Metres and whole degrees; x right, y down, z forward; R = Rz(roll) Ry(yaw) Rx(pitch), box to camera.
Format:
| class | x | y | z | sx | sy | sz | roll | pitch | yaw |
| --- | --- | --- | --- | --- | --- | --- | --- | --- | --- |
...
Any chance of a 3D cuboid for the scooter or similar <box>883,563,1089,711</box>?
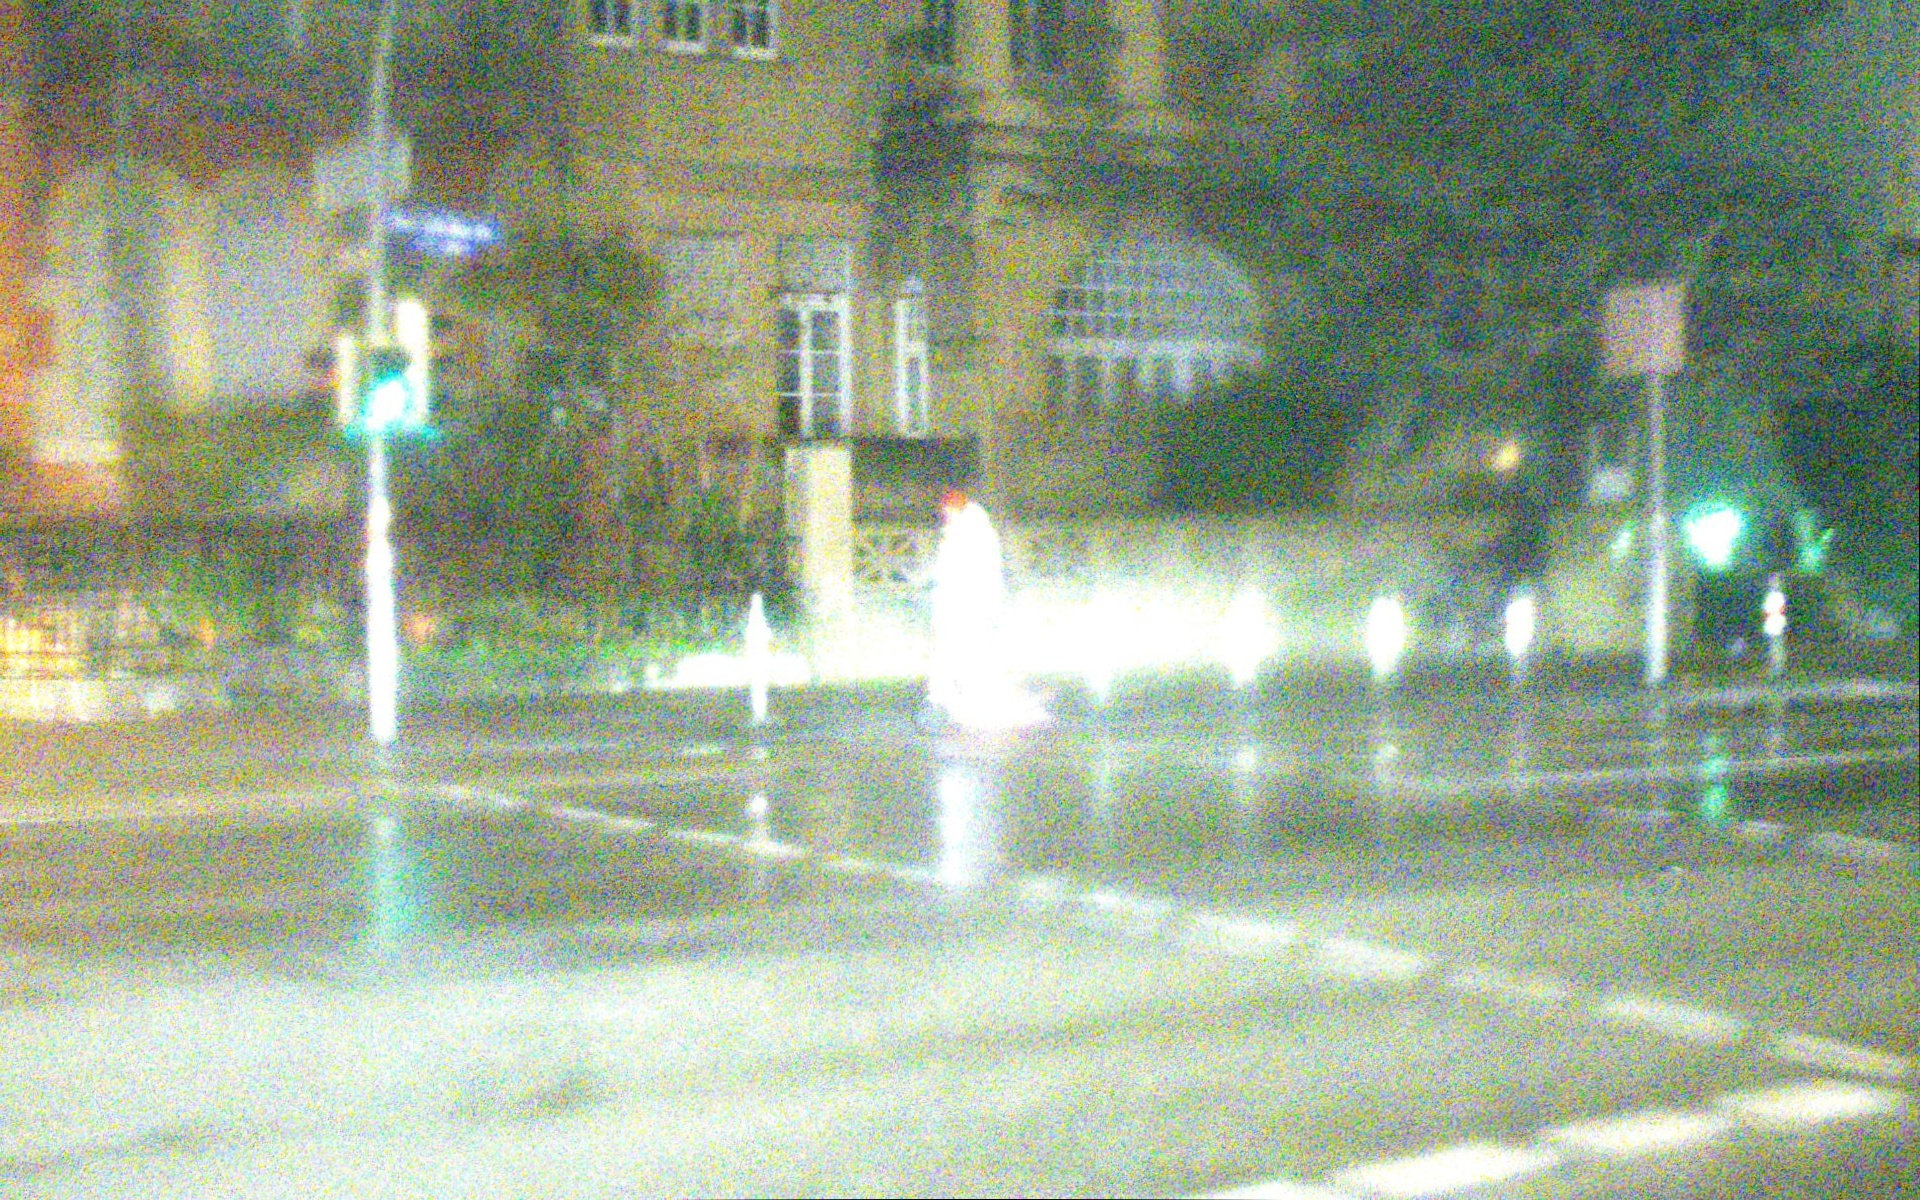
| class | x | y | z | sx | sy | sz | roll | pitch | yaw |
| --- | --- | --- | --- | --- | --- | --- | --- | --- | --- |
| scooter or similar | 0.193 | 0.271 | 25.632 | 1.364 | 1.048 | 0.642 | 0 | 3 | -25 |

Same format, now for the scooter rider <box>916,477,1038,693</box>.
| class | x | y | z | sx | sy | sz | roll | pitch | yaw |
| --- | --- | --- | --- | --- | --- | --- | --- | --- | --- |
| scooter rider | 0.122 | -0.120 | 25.580 | 0.650 | 1.567 | 0.642 | 0 | 3 | -25 |

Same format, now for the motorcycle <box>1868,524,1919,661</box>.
| class | x | y | z | sx | sy | sz | roll | pitch | yaw |
| --- | --- | --- | --- | --- | --- | --- | --- | --- | --- |
| motorcycle | 9.515 | -0.085 | 31.218 | 2.318 | 1.226 | 0.710 | -1 | 0 | -2 |
